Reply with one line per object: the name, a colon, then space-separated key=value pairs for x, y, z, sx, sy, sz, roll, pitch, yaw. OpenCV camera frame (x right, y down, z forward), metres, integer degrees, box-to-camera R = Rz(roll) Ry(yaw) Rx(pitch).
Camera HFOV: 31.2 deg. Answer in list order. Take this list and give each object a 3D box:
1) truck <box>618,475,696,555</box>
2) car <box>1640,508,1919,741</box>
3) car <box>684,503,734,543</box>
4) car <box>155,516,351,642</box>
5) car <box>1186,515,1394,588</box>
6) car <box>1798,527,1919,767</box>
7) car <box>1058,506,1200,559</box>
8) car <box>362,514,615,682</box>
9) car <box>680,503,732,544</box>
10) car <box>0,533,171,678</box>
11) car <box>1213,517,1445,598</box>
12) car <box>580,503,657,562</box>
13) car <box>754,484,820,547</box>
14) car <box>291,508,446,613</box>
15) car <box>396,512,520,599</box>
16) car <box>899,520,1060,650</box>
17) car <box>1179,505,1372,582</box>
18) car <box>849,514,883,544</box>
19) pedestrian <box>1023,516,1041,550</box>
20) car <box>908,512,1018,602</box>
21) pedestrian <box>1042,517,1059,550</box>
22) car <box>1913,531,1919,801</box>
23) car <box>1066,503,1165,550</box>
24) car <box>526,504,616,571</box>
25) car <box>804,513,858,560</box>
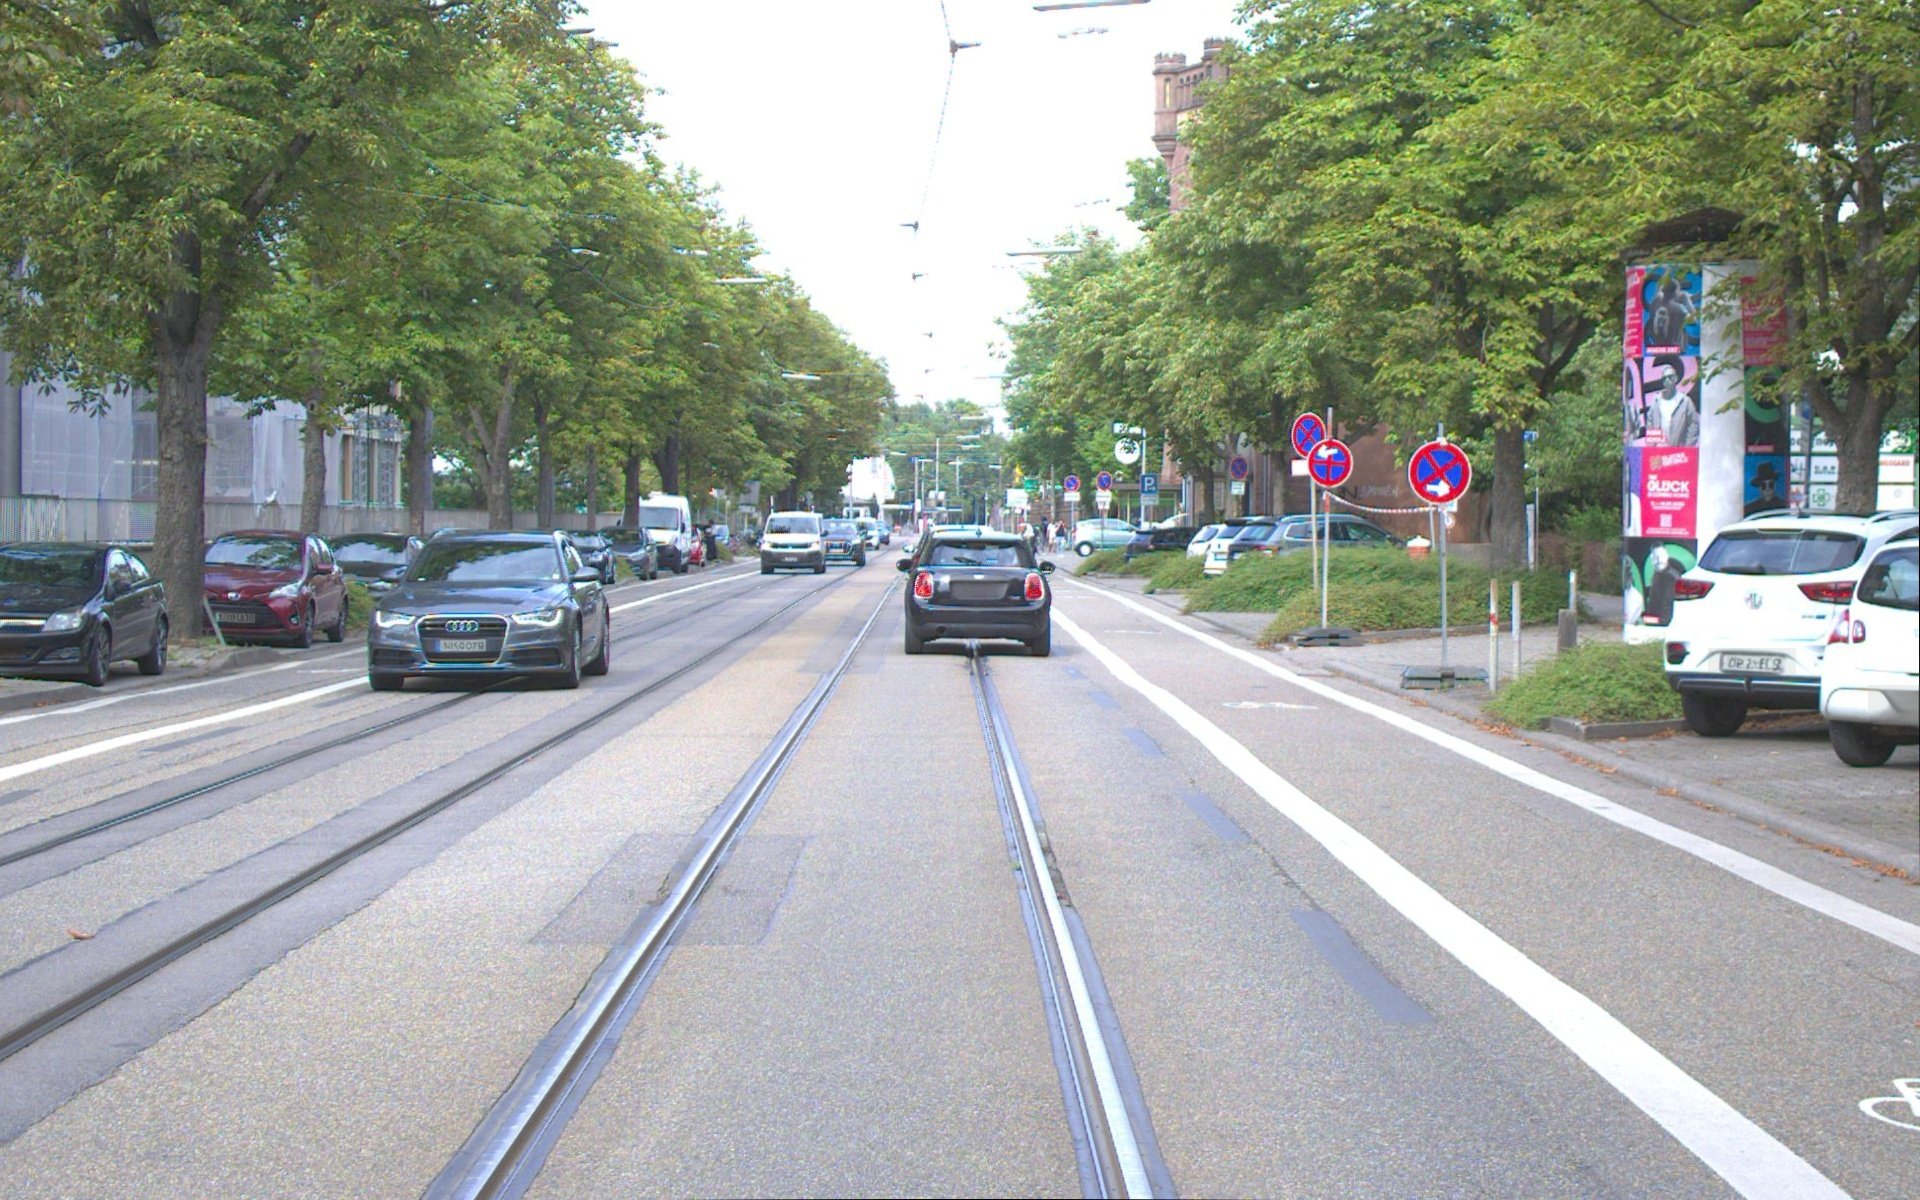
truck: x=-9.544 y=-2.684 z=108.562 sx=2.071 sy=2.462 sz=4.899 roll=-1 pitch=1 yaw=-1
car: x=6.686 y=0.140 z=24.996 sx=3.437 sy=1.567 sz=1.560 roll=0 pitch=2 yaw=-39
car: x=-10.213 y=-3.150 z=140.115 sx=1.802 sy=1.578 sz=4.031 roll=-1 pitch=1 yaw=-1
car: x=-9.256 y=-0.315 z=45.299 sx=1.802 sy=1.578 sz=4.031 roll=-1 pitch=1 yaw=-1
car: x=6.751 y=-1.002 z=70.501 sx=3.986 sy=1.420 sz=1.885 roll=1 pitch=1 yaw=-3
car: x=7.062 y=0.273 z=21.898 sx=3.437 sy=1.437 sz=1.560 roll=0 pitch=2 yaw=-39
car: x=4.976 y=-2.007 z=101.524 sx=3.986 sy=1.503 sz=1.885 roll=1 pitch=1 yaw=-3
car: x=-4.362 y=-0.071 z=32.441 sx=1.834 sy=1.443 sz=4.554 roll=1 pitch=2 yaw=-1
car: x=-9.903 y=-2.995 z=134.156 sx=1.802 sy=1.578 sz=4.031 roll=-1 pitch=1 yaw=-1
car: x=-9.350 y=0.019 z=34.910 sx=1.802 sy=1.369 sz=4.031 roll=-1 pitch=1 yaw=-1
car: x=6.796 y=-0.797 z=63.602 sx=3.986 sy=1.420 sz=1.885 roll=1 pitch=1 yaw=-3
car: x=-9.467 y=-1.879 z=95.488 sx=1.802 sy=1.578 sz=4.031 roll=-1 pitch=1 yaw=-1
car: x=-5.105 y=-2.504 z=101.787 sx=1.802 sy=1.817 sz=4.485 roll=-1 pitch=1 yaw=-1
car: x=-9.271 y=-0.652 z=54.165 sx=1.802 sy=1.578 sz=4.031 roll=-1 pitch=1 yaw=-1
car: x=-9.438 y=-0.868 z=64.898 sx=1.802 sy=1.578 sz=4.031 roll=-1 pitch=1 yaw=-1
car: x=0.187 y=-0.216 z=41.118 sx=1.793 sy=1.418 sz=4.001 roll=1 pitch=1 yaw=-1
car: x=6.945 y=-1.258 z=75.902 sx=3.986 sy=1.622 sz=1.885 roll=1 pitch=1 yaw=-3
car: x=-5.143 y=-3.928 z=188.971 sx=1.802 sy=1.616 sz=4.485 roll=-1 pitch=1 yaw=-1
pedestrian: x=3.563 y=-3.287 z=169.506 sx=0.726 sy=1.640 sz=0.766 roll=2 pitch=2 yaw=10
car: x=0.038 y=-0.778 z=60.207 sx=1.793 sy=1.465 sz=4.000 roll=2 pitch=1 yaw=0
pedestrian: x=4.553 y=-3.359 z=172.731 sx=0.726 sy=1.640 sz=0.766 roll=2 pitch=2 yaw=10
car: x=6.974 y=0.364 z=18.807 sx=3.525 sy=1.437 sz=1.623 roll=0 pitch=2 yaw=-39
car: x=6.668 y=-3.165 z=147.700 sx=3.986 sy=1.904 sz=2.000 roll=1 pitch=2 yaw=-3
car: x=-9.489 y=-1.546 z=84.085 sx=1.802 sy=1.578 sz=4.031 roll=-1 pitch=1 yaw=-1
car: x=-4.519 y=-2.240 z=121.278 sx=1.802 sy=1.616 sz=4.485 roll=-1 pitch=1 yaw=-1
